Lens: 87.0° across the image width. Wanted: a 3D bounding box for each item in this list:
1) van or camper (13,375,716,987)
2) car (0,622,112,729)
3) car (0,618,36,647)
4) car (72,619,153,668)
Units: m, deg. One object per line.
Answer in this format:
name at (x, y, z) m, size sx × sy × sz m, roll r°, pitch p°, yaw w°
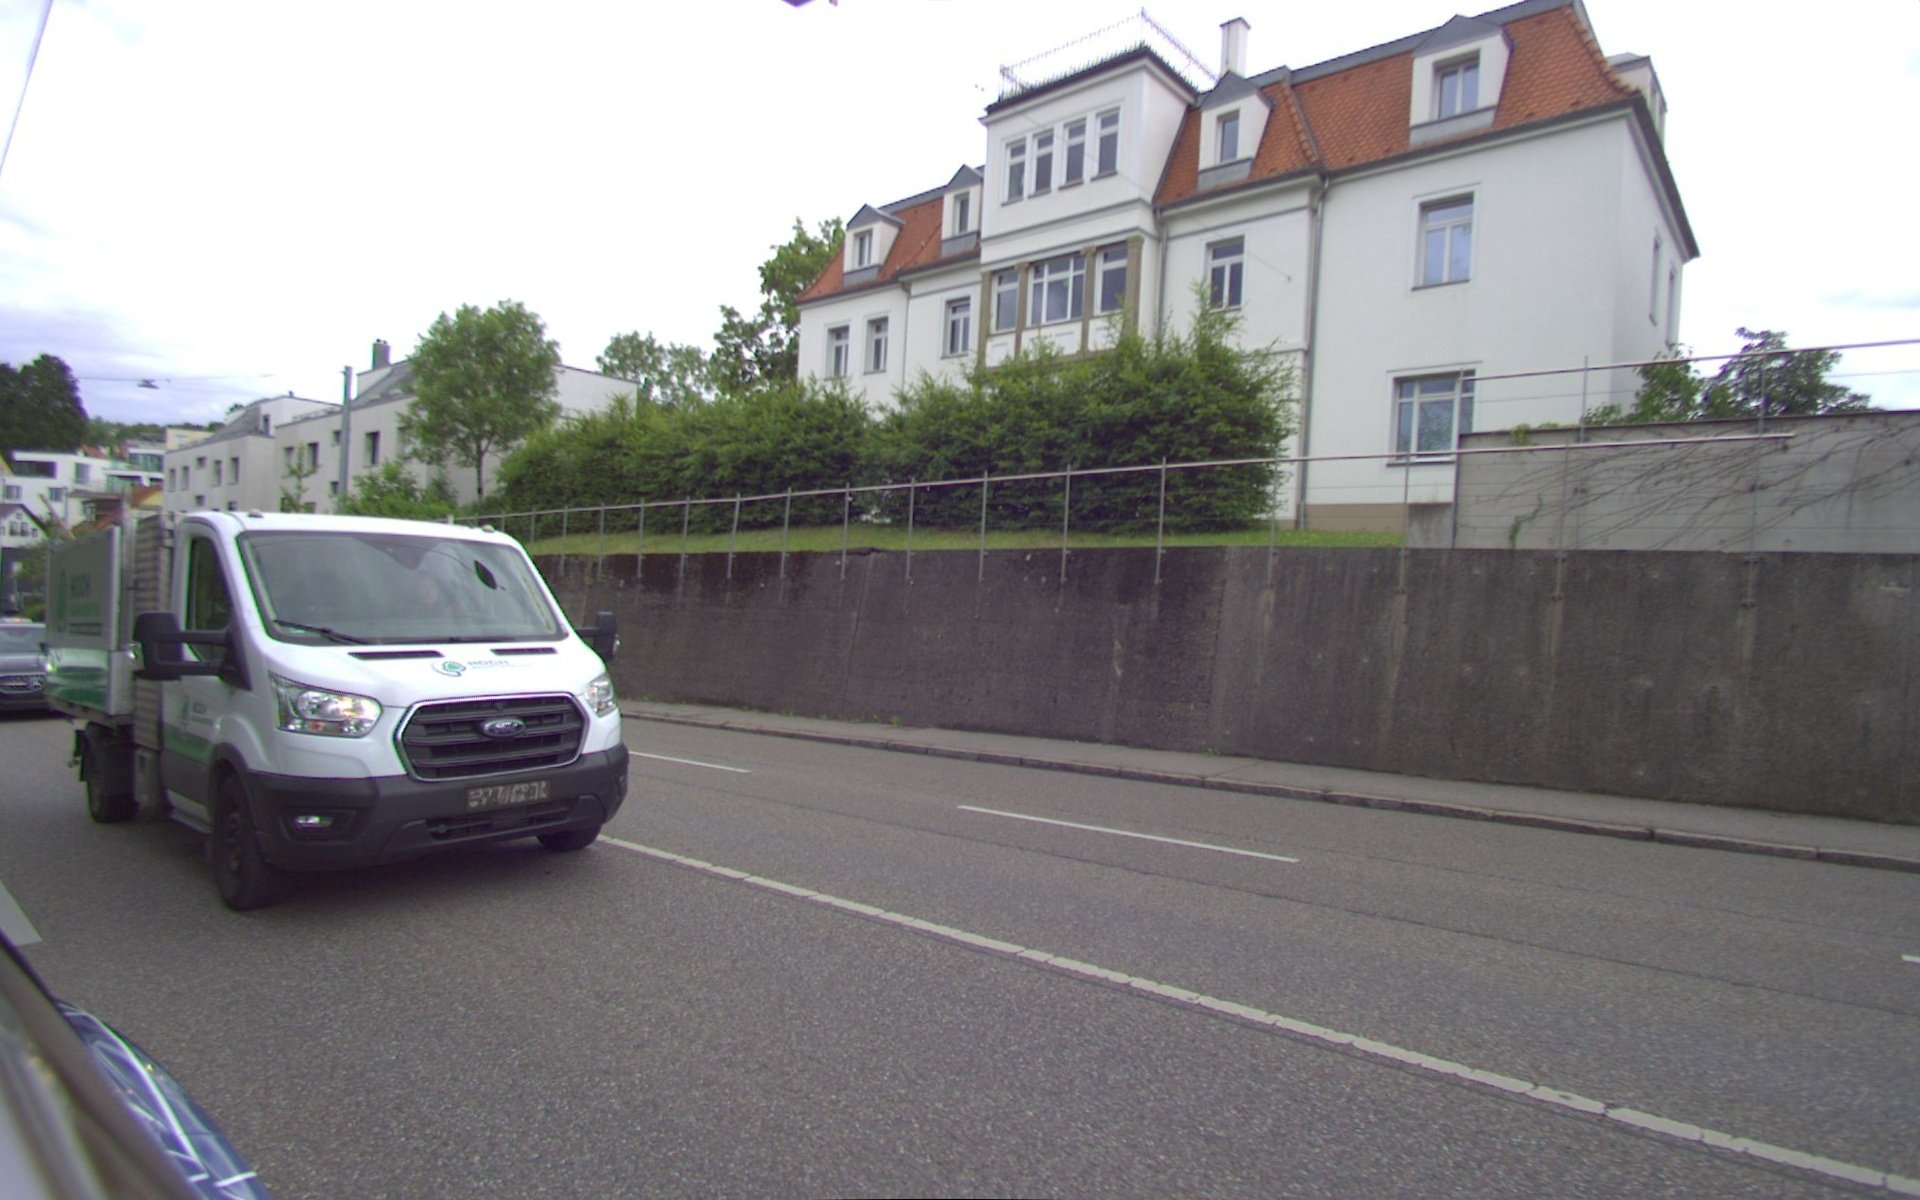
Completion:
van or camper at (-4.558, 0.403, 7.208) m, size 5.957 × 2.682 × 2.321 m, roll -1°, pitch -1°, yaw 38°
car at (-15.283, 1.126, 16.285) m, size 4.333 × 1.541 × 1.854 m, roll -1°, pitch -2°, yaw 41°
car at (-58.771, 2.026, 62.746) m, size 3.866 × 1.725 × 1.687 m, roll -1°, pitch -3°, yaw 41°
car at (-34.412, 1.758, 41.078) m, size 4.206 × 1.856 × 1.812 m, roll -1°, pitch -4°, yaw 41°
